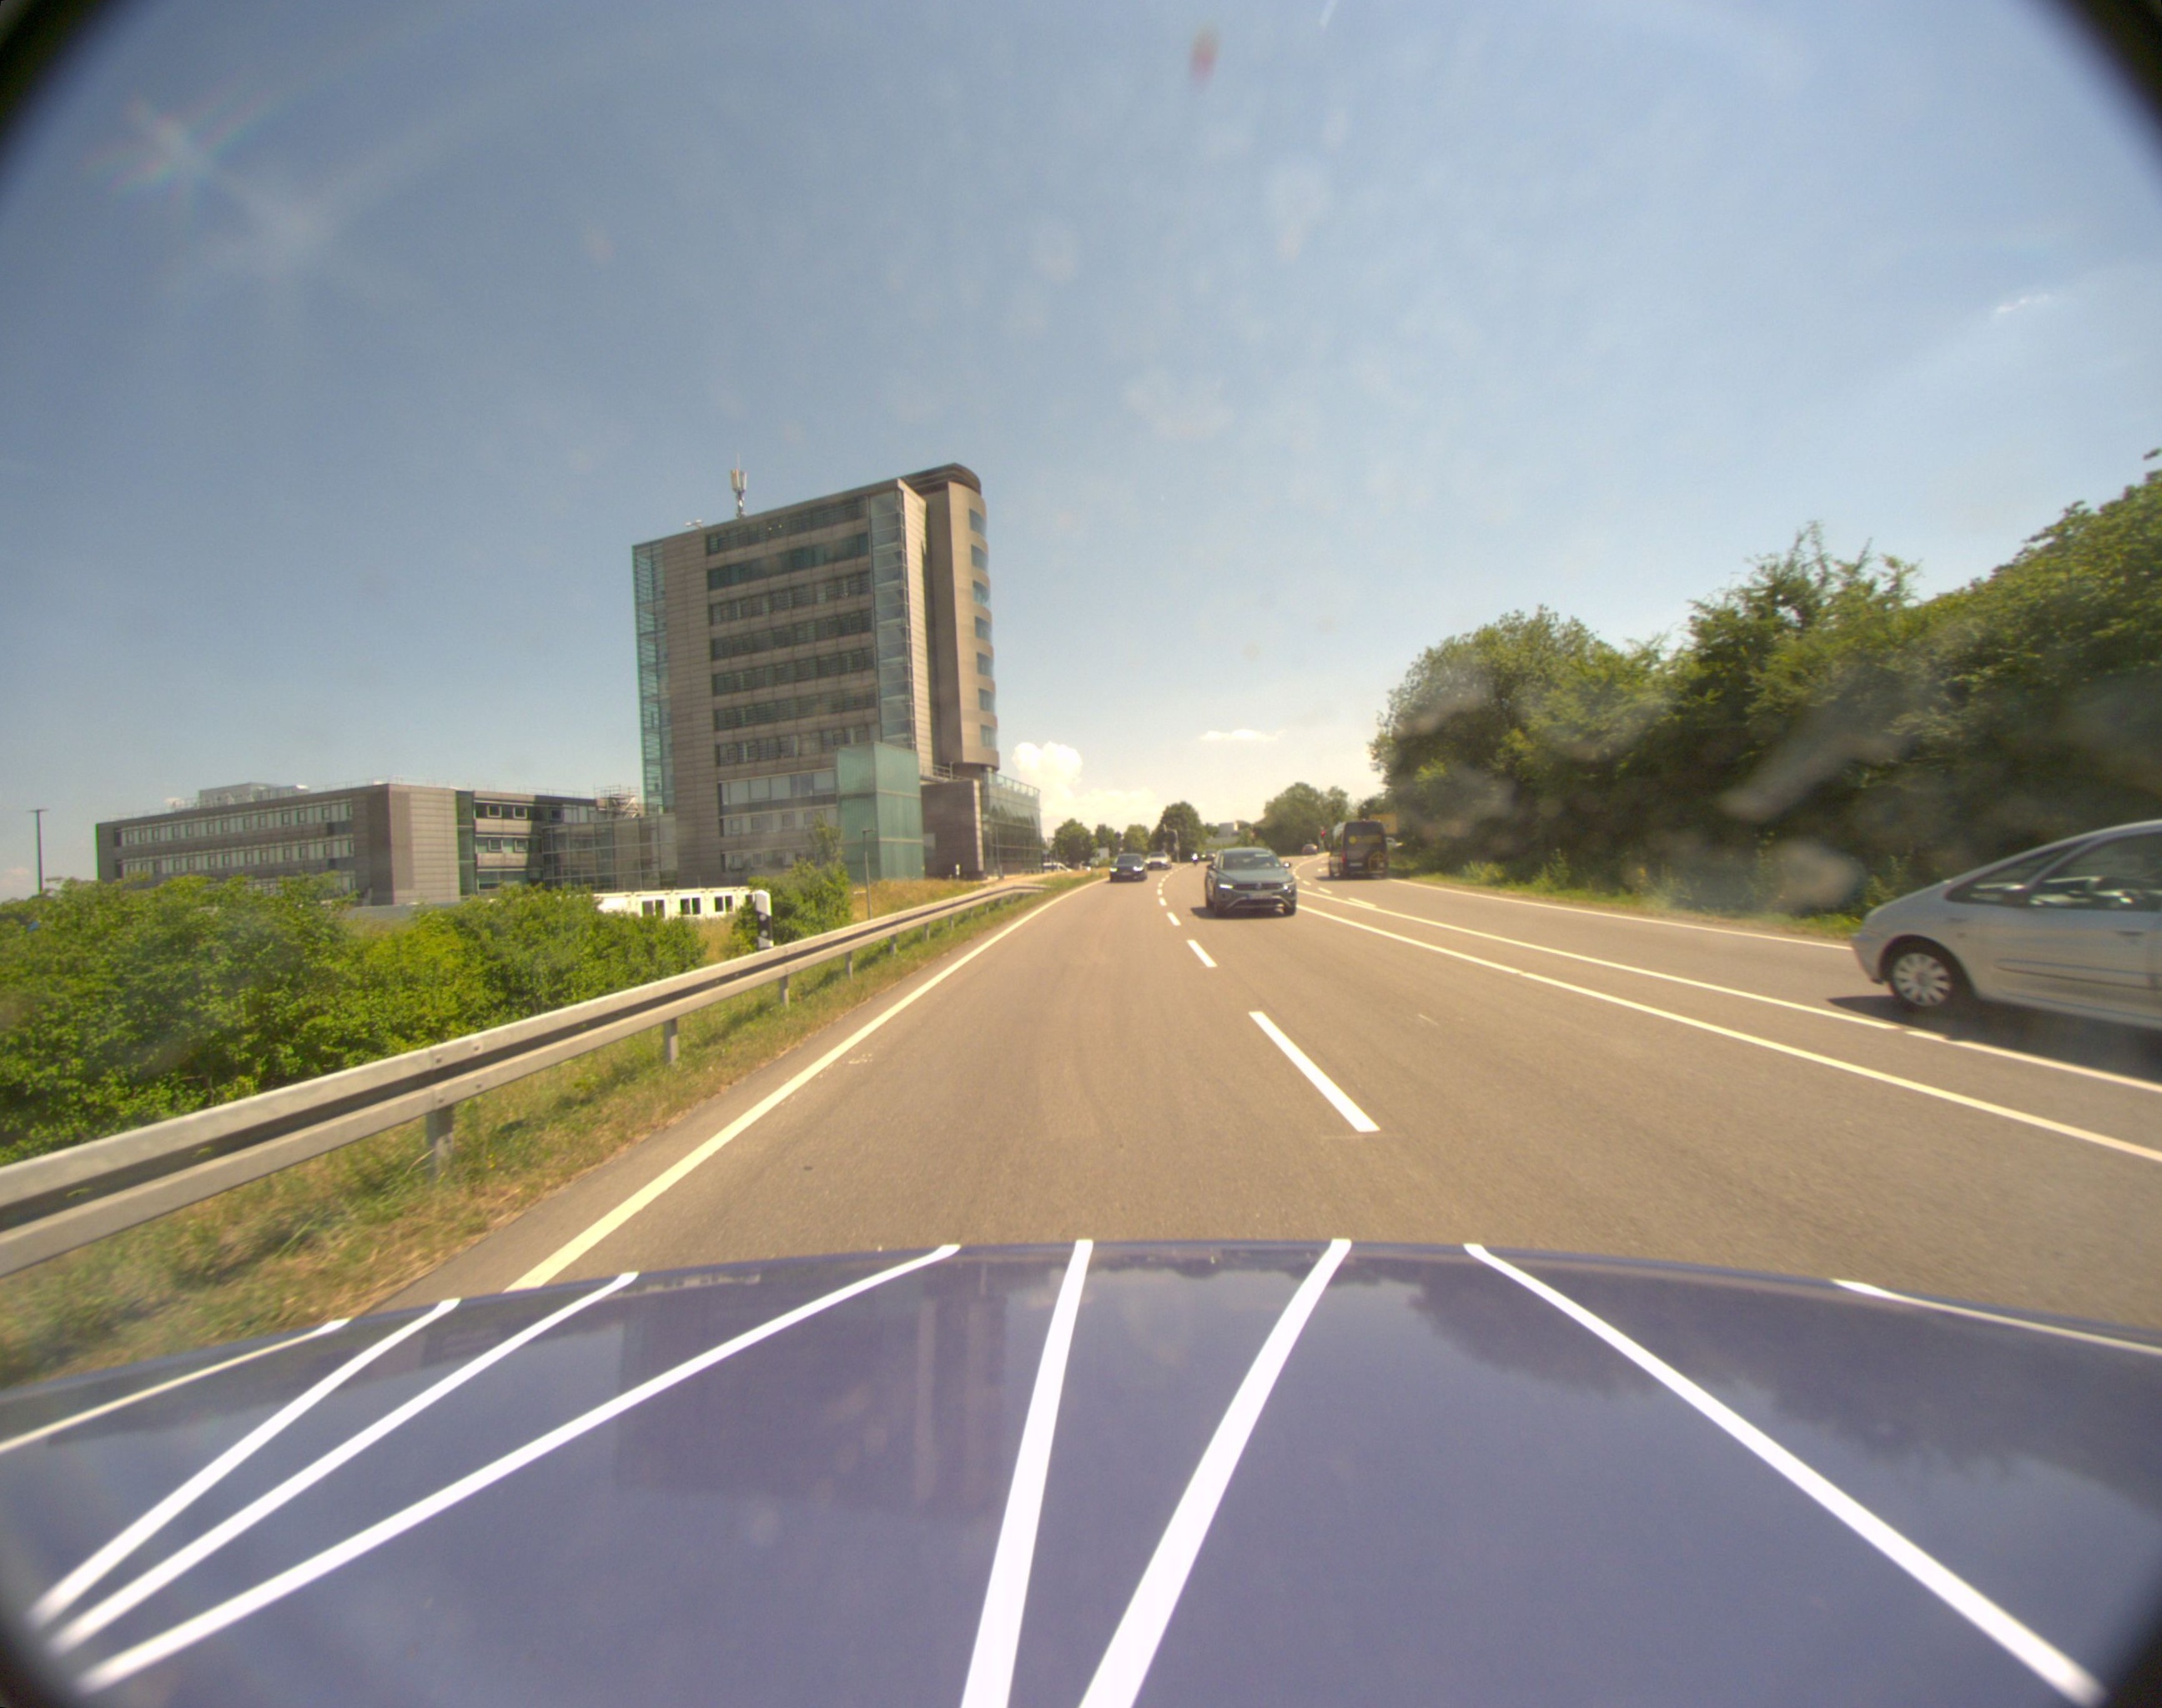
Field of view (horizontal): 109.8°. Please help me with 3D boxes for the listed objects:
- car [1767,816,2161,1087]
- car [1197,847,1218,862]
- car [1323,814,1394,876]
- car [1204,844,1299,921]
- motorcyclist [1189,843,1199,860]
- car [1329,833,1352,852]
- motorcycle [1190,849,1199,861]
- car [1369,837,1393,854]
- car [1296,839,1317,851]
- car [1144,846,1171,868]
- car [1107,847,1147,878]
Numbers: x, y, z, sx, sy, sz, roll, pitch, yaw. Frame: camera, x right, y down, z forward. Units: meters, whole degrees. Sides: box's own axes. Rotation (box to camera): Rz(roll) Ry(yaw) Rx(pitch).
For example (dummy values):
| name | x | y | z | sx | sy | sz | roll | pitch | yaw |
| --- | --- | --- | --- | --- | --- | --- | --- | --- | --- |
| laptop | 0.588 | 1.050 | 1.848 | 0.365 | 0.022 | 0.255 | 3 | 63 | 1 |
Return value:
| name | x | y | z | sx | sy | sz | roll | pitch | yaw |
| --- | --- | --- | --- | --- | --- | --- | --- | --- | --- |
| car | 7.425 | 0.561 | 4.861 | 1.841 | 1.583 | 4.817 | -3 | 0 | 3 |
| car | 15.439 | 0.018 | 92.463 | 2.115 | 1.582 | 4.454 | -2 | 1 | 15 |
| car | 12.788 | -0.430 | 35.421 | 2.191 | 2.527 | 6.041 | -3 | 1 | 12 |
| car | 3.987 | 0.584 | 18.397 | 1.838 | 1.577 | 4.393 | -2 | 1 | 8 |
| motorcyclist | 10.353 | -0.247 | 69.495 | 0.860 | 1.479 | 1.162 | -1 | 0 | 8 |
| car | 30.029 | -1.326 | 87.704 | 2.078 | 2.002 | 5.815 | -3 | 0 | 22 |
| motorcycle | 10.395 | 0.092 | 69.640 | 0.733 | 1.131 | 2.074 | -1 | 0 | 9 |
| car | 41.381 | -1.145 | 104.958 | 1.977 | 2.001 | 4.844 | -5 | -1 | 10 |
| car | 30.693 | -1.204 | 103.418 | 1.997 | 1.430 | 4.225 | -4 | -1 | 8 |
| car | 6.243 | 0.271 | 61.716 | 1.933 | 1.577 | 4.183 | -5 | -1 | 8 |
| car | 2.543 | 0.435 | 40.871 | 1.779 | 1.497 | 4.563 | -2 | 0 | 7 |
